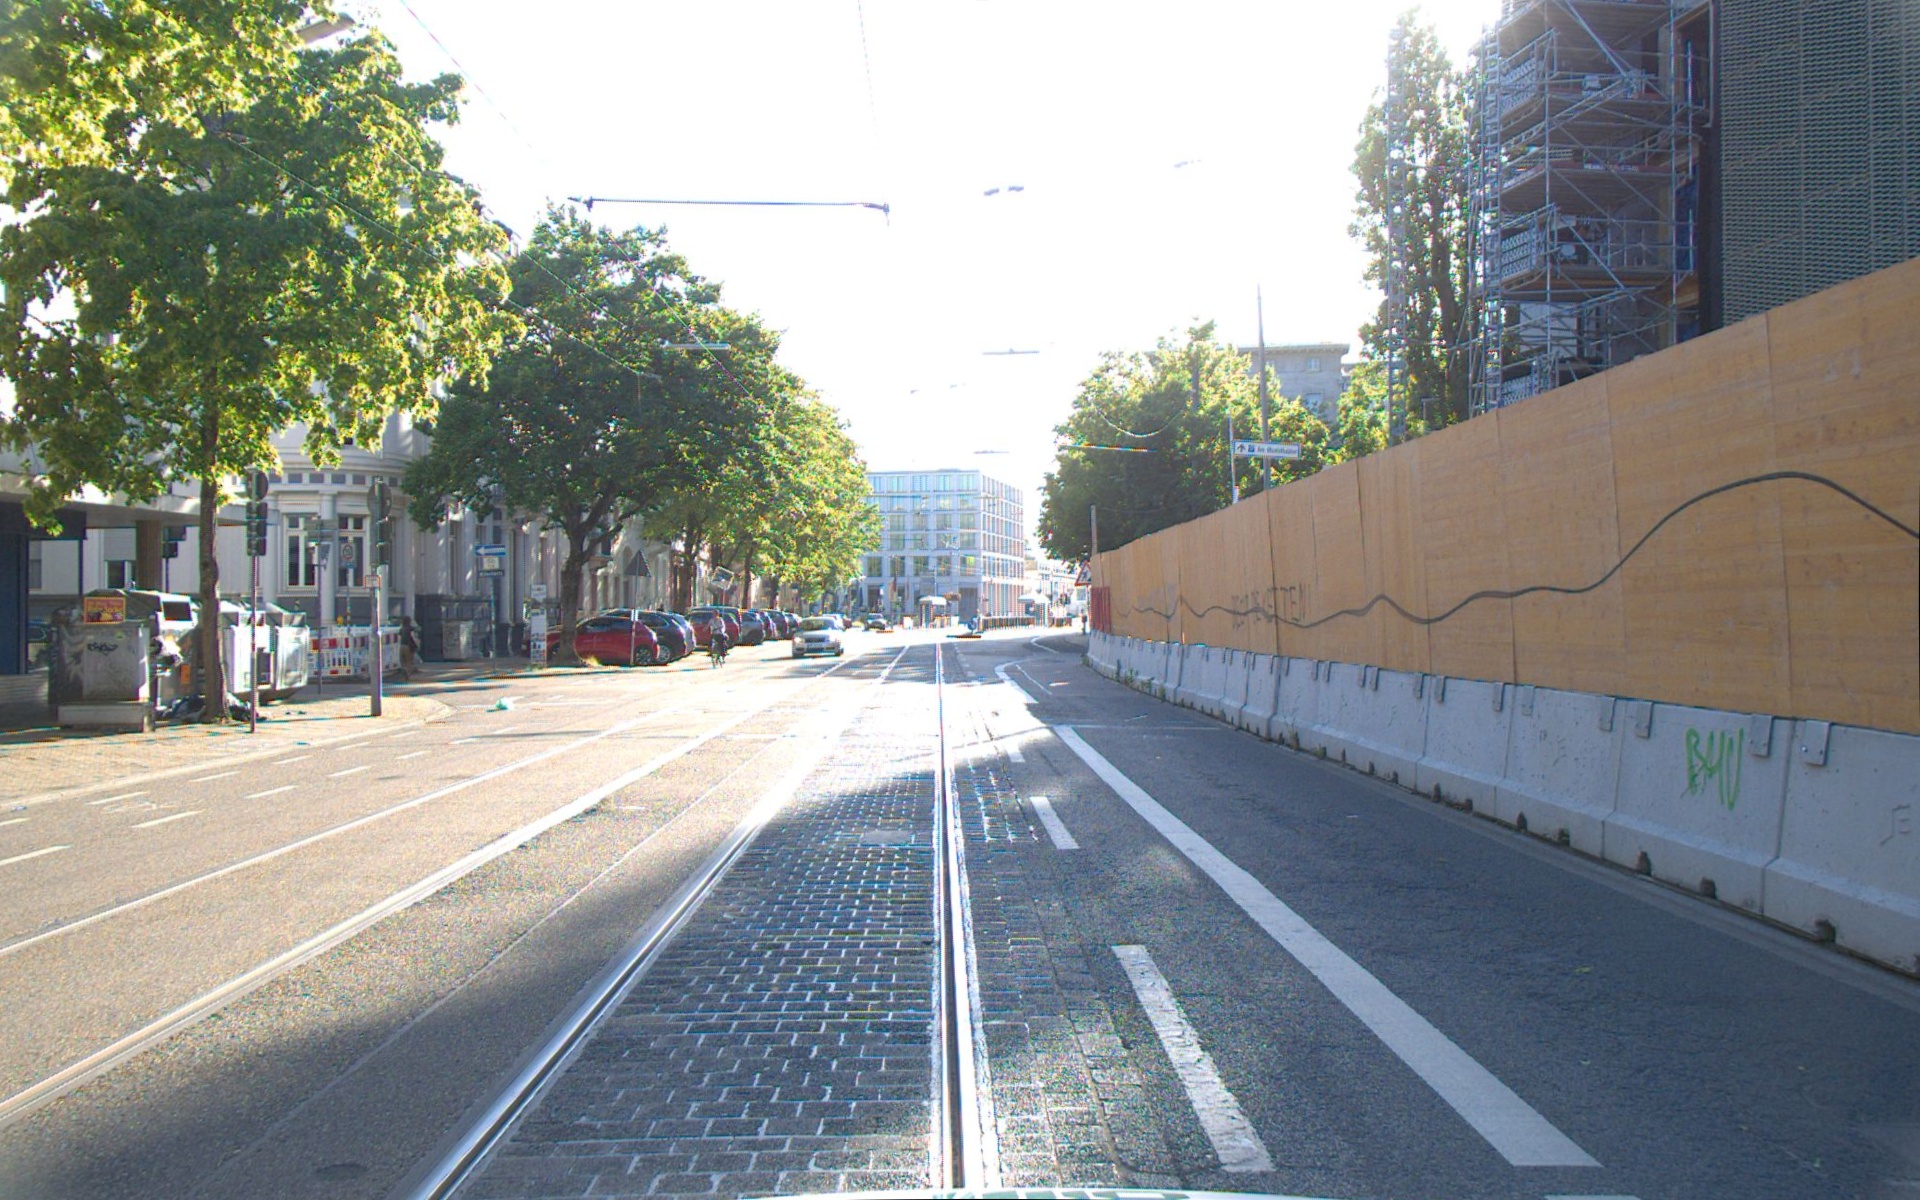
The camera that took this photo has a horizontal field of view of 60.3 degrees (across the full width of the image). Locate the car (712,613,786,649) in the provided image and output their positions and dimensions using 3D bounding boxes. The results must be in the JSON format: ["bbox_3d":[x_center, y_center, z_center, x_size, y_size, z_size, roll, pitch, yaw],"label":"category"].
[{"bbox_3d":[-10.189,1.488,79.879,3.335,1.727,1.392,0,-1,-29],"label":"car"}]

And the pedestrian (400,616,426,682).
[{"bbox_3d":[-13.351,1.184,40.384,0.338,1.600,0.511,-1,-1,27],"label":"pedestrian"}]

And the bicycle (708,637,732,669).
[{"bbox_3d":[-7.159,1.569,49.318,0.440,0.897,1.901,0,-1,0],"label":"bicycle"}]

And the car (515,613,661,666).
[{"bbox_3d":[-10.880,1.171,48.479,3.867,1.479,1.618,2,-2,-35],"label":"car"}]

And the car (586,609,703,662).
[{"bbox_3d":[-10.837,1.200,56.855,3.645,1.752,1.591,0,-1,-36],"label":"car"}]

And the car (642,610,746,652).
[{"bbox_3d":[-11.231,1.306,69.906,4.113,1.751,1.569,1,-1,-28],"label":"car"}]

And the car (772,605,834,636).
[{"bbox_3d":[-8.906,1.139,93.632,3.227,1.728,1.460,0,-1,-23],"label":"car"}]

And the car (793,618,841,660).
[{"bbox_3d":[-5.203,1.399,60.538,1.675,1.461,4.167,0,-1,-4],"label":"car"}]

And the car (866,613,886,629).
[{"bbox_3d":[-8.212,2.061,161.303,1.525,1.557,4.001,0,-1,3],"label":"car"}]

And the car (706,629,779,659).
[{"bbox_3d":[-10.785,2.169,81.890,3.335,1.444,1.392,0,-1,-29],"label":"car"}]

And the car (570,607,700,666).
[{"bbox_3d":[-10.056,1.096,51.262,3.645,1.752,1.591,0,-1,-36],"label":"car"}]

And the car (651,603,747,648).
[{"bbox_3d":[-11.511,1.128,72.974,3.789,1.864,1.714,2,-2,-31],"label":"car"}]

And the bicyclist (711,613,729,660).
[{"bbox_3d":[-7.147,1.083,49.325,0.448,1.402,0.640,0,-1,0],"label":"bicyclist"}]
